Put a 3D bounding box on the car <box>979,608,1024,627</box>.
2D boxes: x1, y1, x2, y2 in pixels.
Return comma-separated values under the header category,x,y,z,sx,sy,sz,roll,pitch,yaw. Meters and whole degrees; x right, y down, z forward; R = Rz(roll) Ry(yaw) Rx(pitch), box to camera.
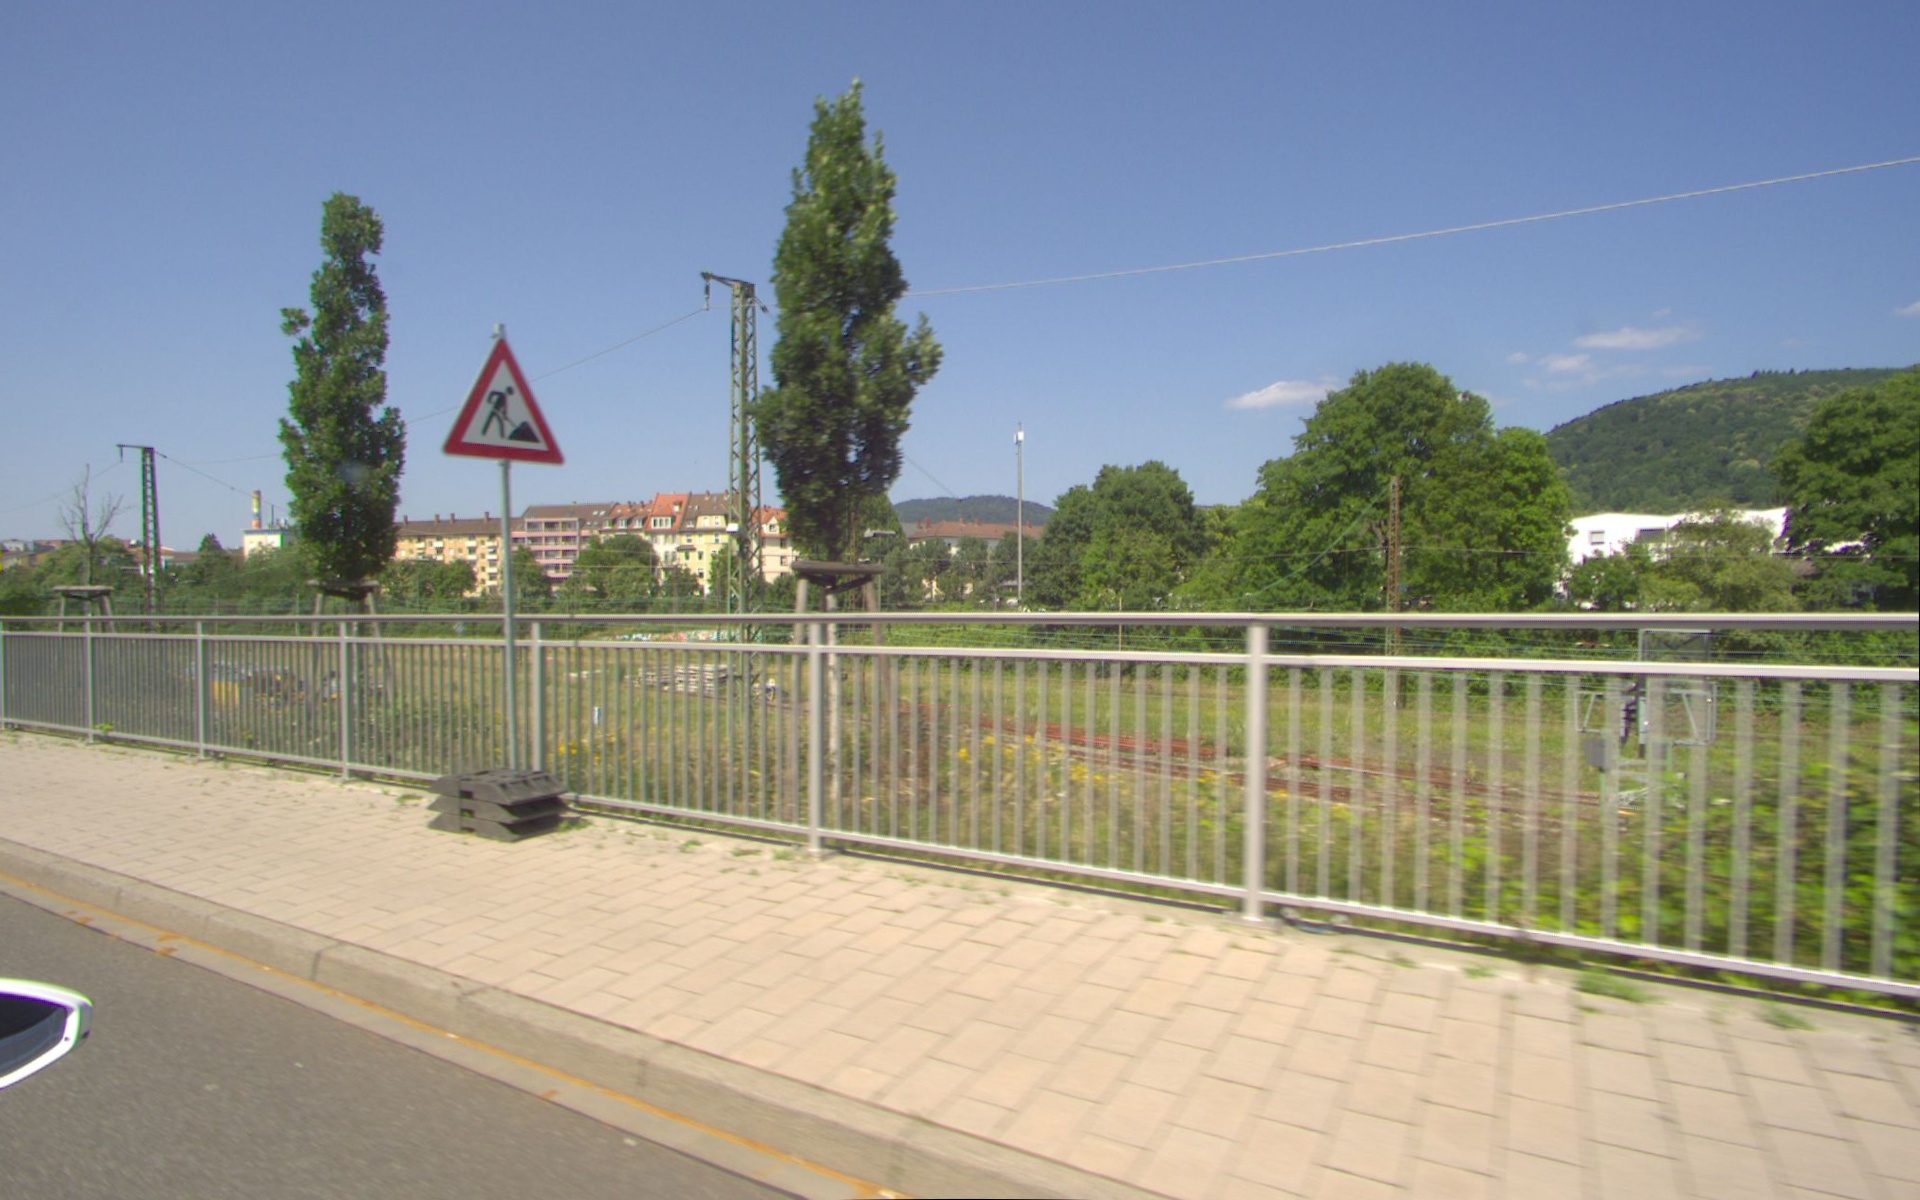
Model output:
category,x,y,z,sx,sy,sz,roll,pitch,yaw
car,4.813,1.988,115.930,4.923,2.141,1.987,0,1,35
